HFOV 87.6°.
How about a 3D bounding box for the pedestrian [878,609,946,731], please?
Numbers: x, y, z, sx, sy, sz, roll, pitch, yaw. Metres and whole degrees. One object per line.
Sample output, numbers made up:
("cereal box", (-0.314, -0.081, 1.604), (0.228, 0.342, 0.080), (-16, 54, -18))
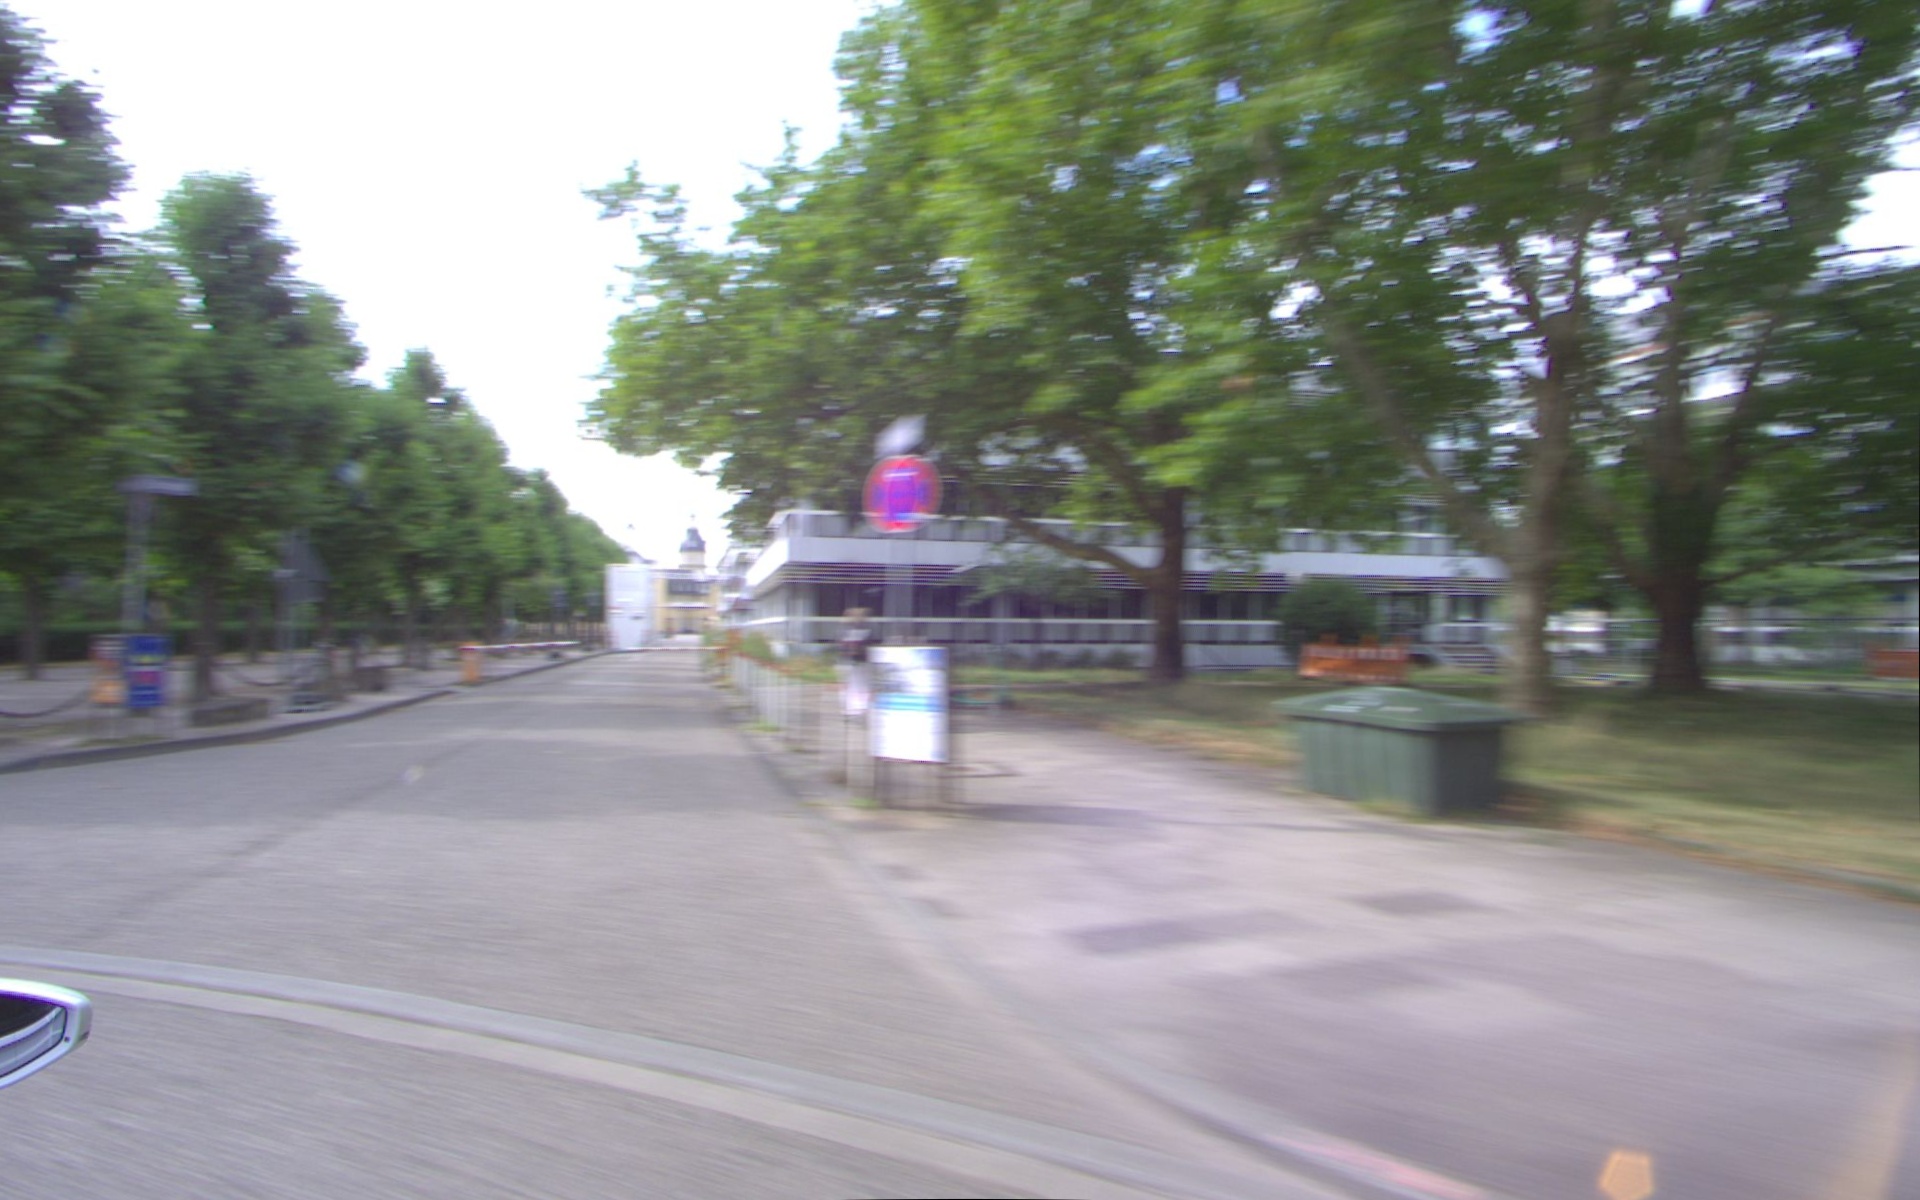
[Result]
("pedestrian", (-0.689, 0.992, 14.426), (0.881, 1.662, 0.852), (2, -1, -2))

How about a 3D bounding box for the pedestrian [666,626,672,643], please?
("pedestrian", (-29.628, 3.487, 101.881), (0.454, 1.646, 0.629), (3, -1, -29))

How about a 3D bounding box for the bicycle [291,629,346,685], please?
("bicycle", (-14.212, 1.240, 22.238), (0.942, 1.124, 2.564), (3, -2, -32))

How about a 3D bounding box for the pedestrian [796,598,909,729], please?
("pedestrian", (-1.533, 0.889, 14.342), (0.952, 1.764, 1.246), (1, -1, 41))

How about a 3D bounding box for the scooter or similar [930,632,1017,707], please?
("scooter or similar", (0.241, 1.247, 18.025), (1.430, 1.285, 0.569), (3, -1, -20))
